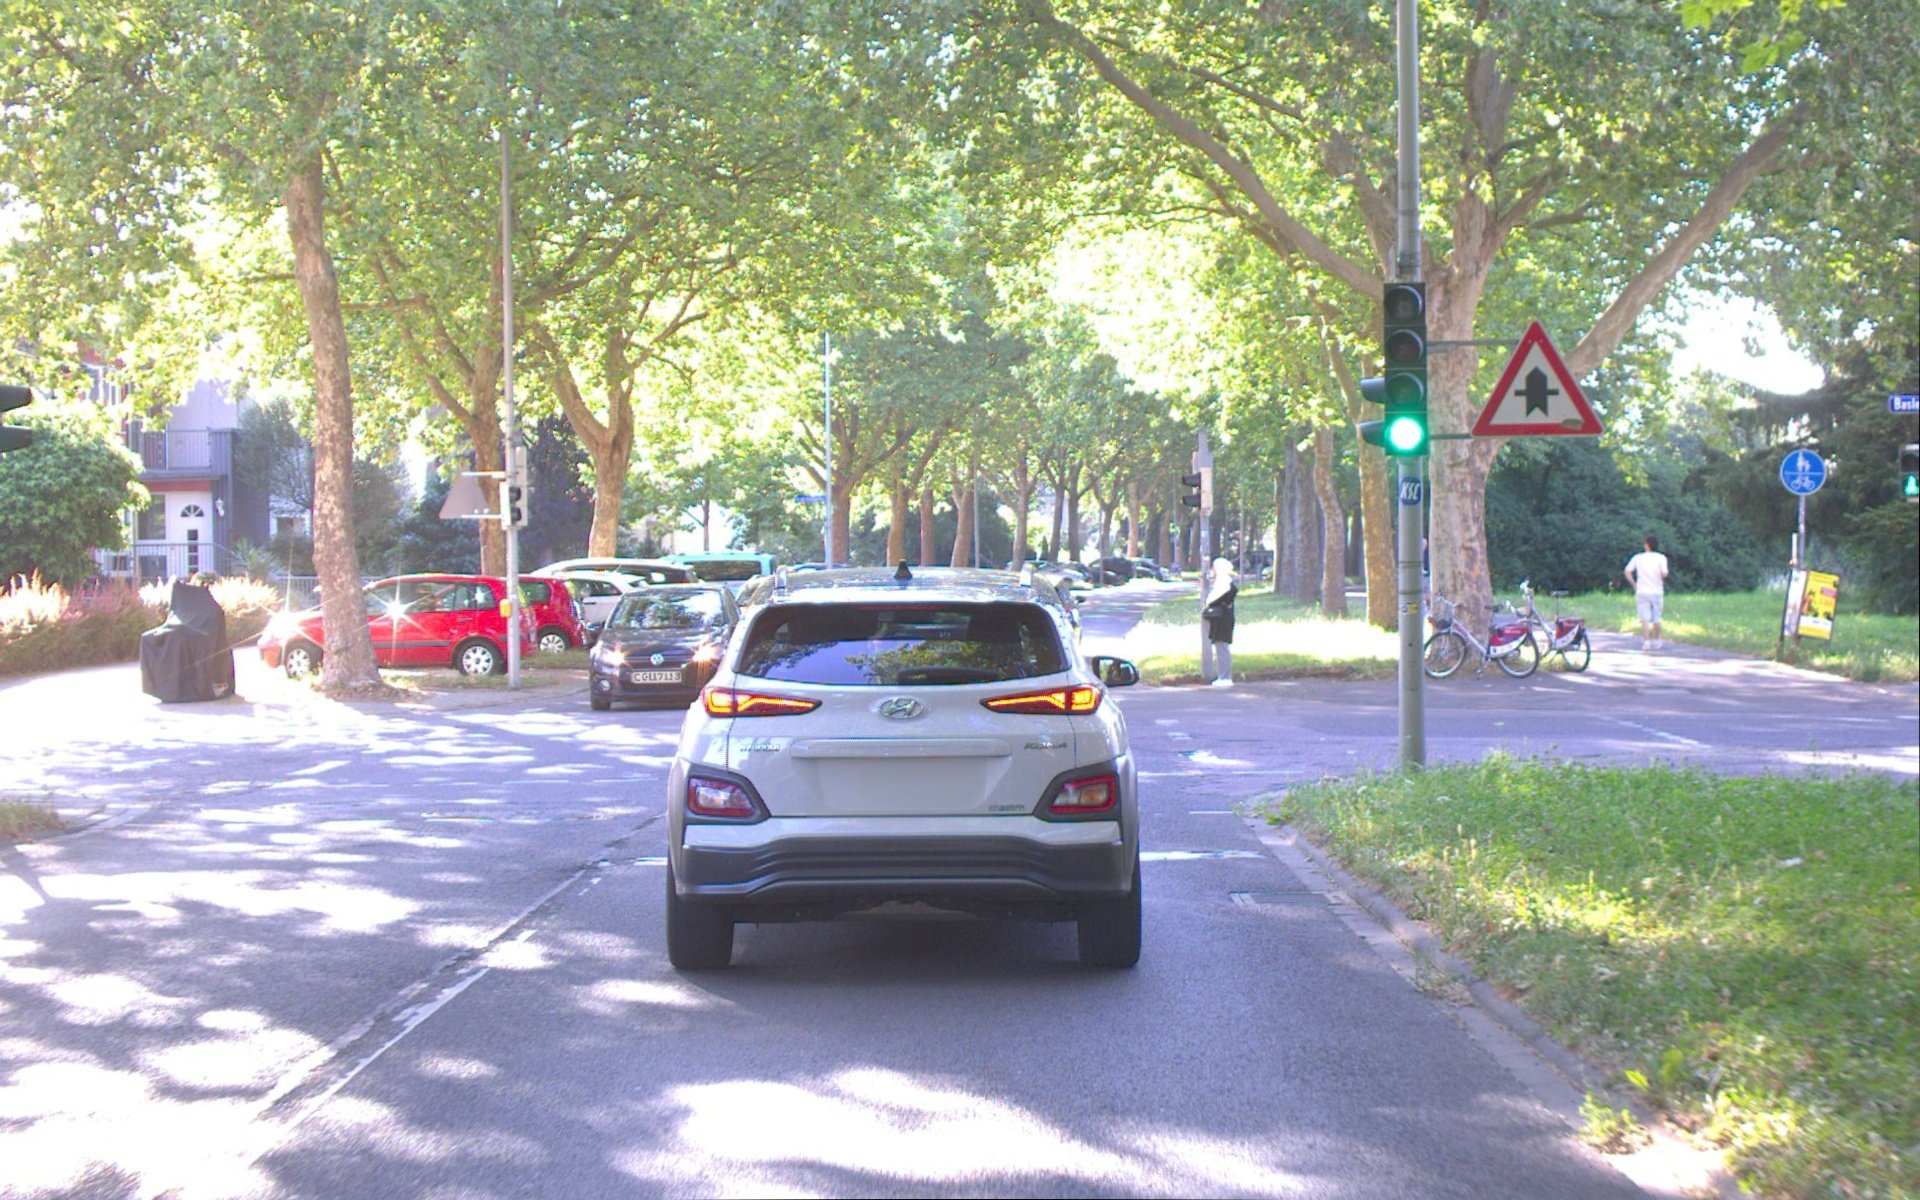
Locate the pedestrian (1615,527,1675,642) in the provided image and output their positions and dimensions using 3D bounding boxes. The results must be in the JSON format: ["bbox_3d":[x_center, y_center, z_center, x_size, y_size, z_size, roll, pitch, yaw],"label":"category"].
[{"bbox_3d":[10.363,-0.233,52.036,0.834,1.730,0.885,0,0,8],"label":"pedestrian"}]

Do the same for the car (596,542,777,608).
[{"bbox_3d":[-6.296,-0.570,79.343,3.987,1.473,2.000,0,0,1],"label":"car"}]

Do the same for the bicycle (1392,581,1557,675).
[{"bbox_3d":[6.490,0.341,43.478,0.603,1.160,2.149,1,0,-43],"label":"bicycle"}]

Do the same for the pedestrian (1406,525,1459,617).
[{"bbox_3d":[10.481,-0.644,76.267,1.095,2.007,1.105,-2,1,7],"label":"pedestrian"}]

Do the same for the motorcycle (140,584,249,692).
[{"bbox_3d":[-10.082,0.487,45.374,0.846,1.374,2.776,0,0,-1],"label":"motorcycle"}]

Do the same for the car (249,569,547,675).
[{"bbox_3d":[-8.125,0.314,49.959,3.987,1.473,2.000,0,0,1],"label":"car"}]

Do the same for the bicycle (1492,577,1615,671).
[{"bbox_3d":[7.629,0.295,44.268,0.603,1.179,2.119,0,0,-19],"label":"bicycle"}]

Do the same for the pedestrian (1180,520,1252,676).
[{"bbox_3d":[3.350,-0.029,44.965,0.868,2.007,0.813,0,0,8],"label":"pedestrian"}]

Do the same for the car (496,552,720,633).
[{"bbox_3d":[-6.609,-0.131,64.838,3.987,1.473,2.000,0,0,1],"label":"car"}]

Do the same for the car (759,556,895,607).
[{"bbox_3d":[-3.990,-0.550,103.440,3.987,1.473,2.000,0,0,1],"label":"car"}]

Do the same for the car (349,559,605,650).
[{"bbox_3d":[-8.045,0.070,57.501,3.987,1.473,2.000,0,0,1],"label":"car"}]

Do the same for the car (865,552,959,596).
[{"bbox_3d":[-1.976,-1.074,141.452,3.668,1.802,1.749,0,1,-9],"label":"car"}]

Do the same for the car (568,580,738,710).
[{"bbox_3d":[-3.648,0.508,41.416,1.688,1.432,3.682,0,1,0],"label":"car"}]

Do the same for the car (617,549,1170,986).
[{"bbox_3d":[-0.263,0.601,14.450,1.993,1.569,4.000,0,0,-1],"label":"car"}]

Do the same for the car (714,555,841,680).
[{"bbox_3d":[-2.816,0.262,53.712,1.791,1.875,4.000,0,0,-1],"label":"car"}]

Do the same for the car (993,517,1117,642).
[{"bbox_3d":[1.621,-0.389,59.124,1.993,2.007,4.000,-2,1,1],"label":"car"}]

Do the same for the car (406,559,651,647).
[{"bbox_3d":[-7.462,0.048,59.783,3.987,1.473,2.000,0,0,1],"label":"car"}]
